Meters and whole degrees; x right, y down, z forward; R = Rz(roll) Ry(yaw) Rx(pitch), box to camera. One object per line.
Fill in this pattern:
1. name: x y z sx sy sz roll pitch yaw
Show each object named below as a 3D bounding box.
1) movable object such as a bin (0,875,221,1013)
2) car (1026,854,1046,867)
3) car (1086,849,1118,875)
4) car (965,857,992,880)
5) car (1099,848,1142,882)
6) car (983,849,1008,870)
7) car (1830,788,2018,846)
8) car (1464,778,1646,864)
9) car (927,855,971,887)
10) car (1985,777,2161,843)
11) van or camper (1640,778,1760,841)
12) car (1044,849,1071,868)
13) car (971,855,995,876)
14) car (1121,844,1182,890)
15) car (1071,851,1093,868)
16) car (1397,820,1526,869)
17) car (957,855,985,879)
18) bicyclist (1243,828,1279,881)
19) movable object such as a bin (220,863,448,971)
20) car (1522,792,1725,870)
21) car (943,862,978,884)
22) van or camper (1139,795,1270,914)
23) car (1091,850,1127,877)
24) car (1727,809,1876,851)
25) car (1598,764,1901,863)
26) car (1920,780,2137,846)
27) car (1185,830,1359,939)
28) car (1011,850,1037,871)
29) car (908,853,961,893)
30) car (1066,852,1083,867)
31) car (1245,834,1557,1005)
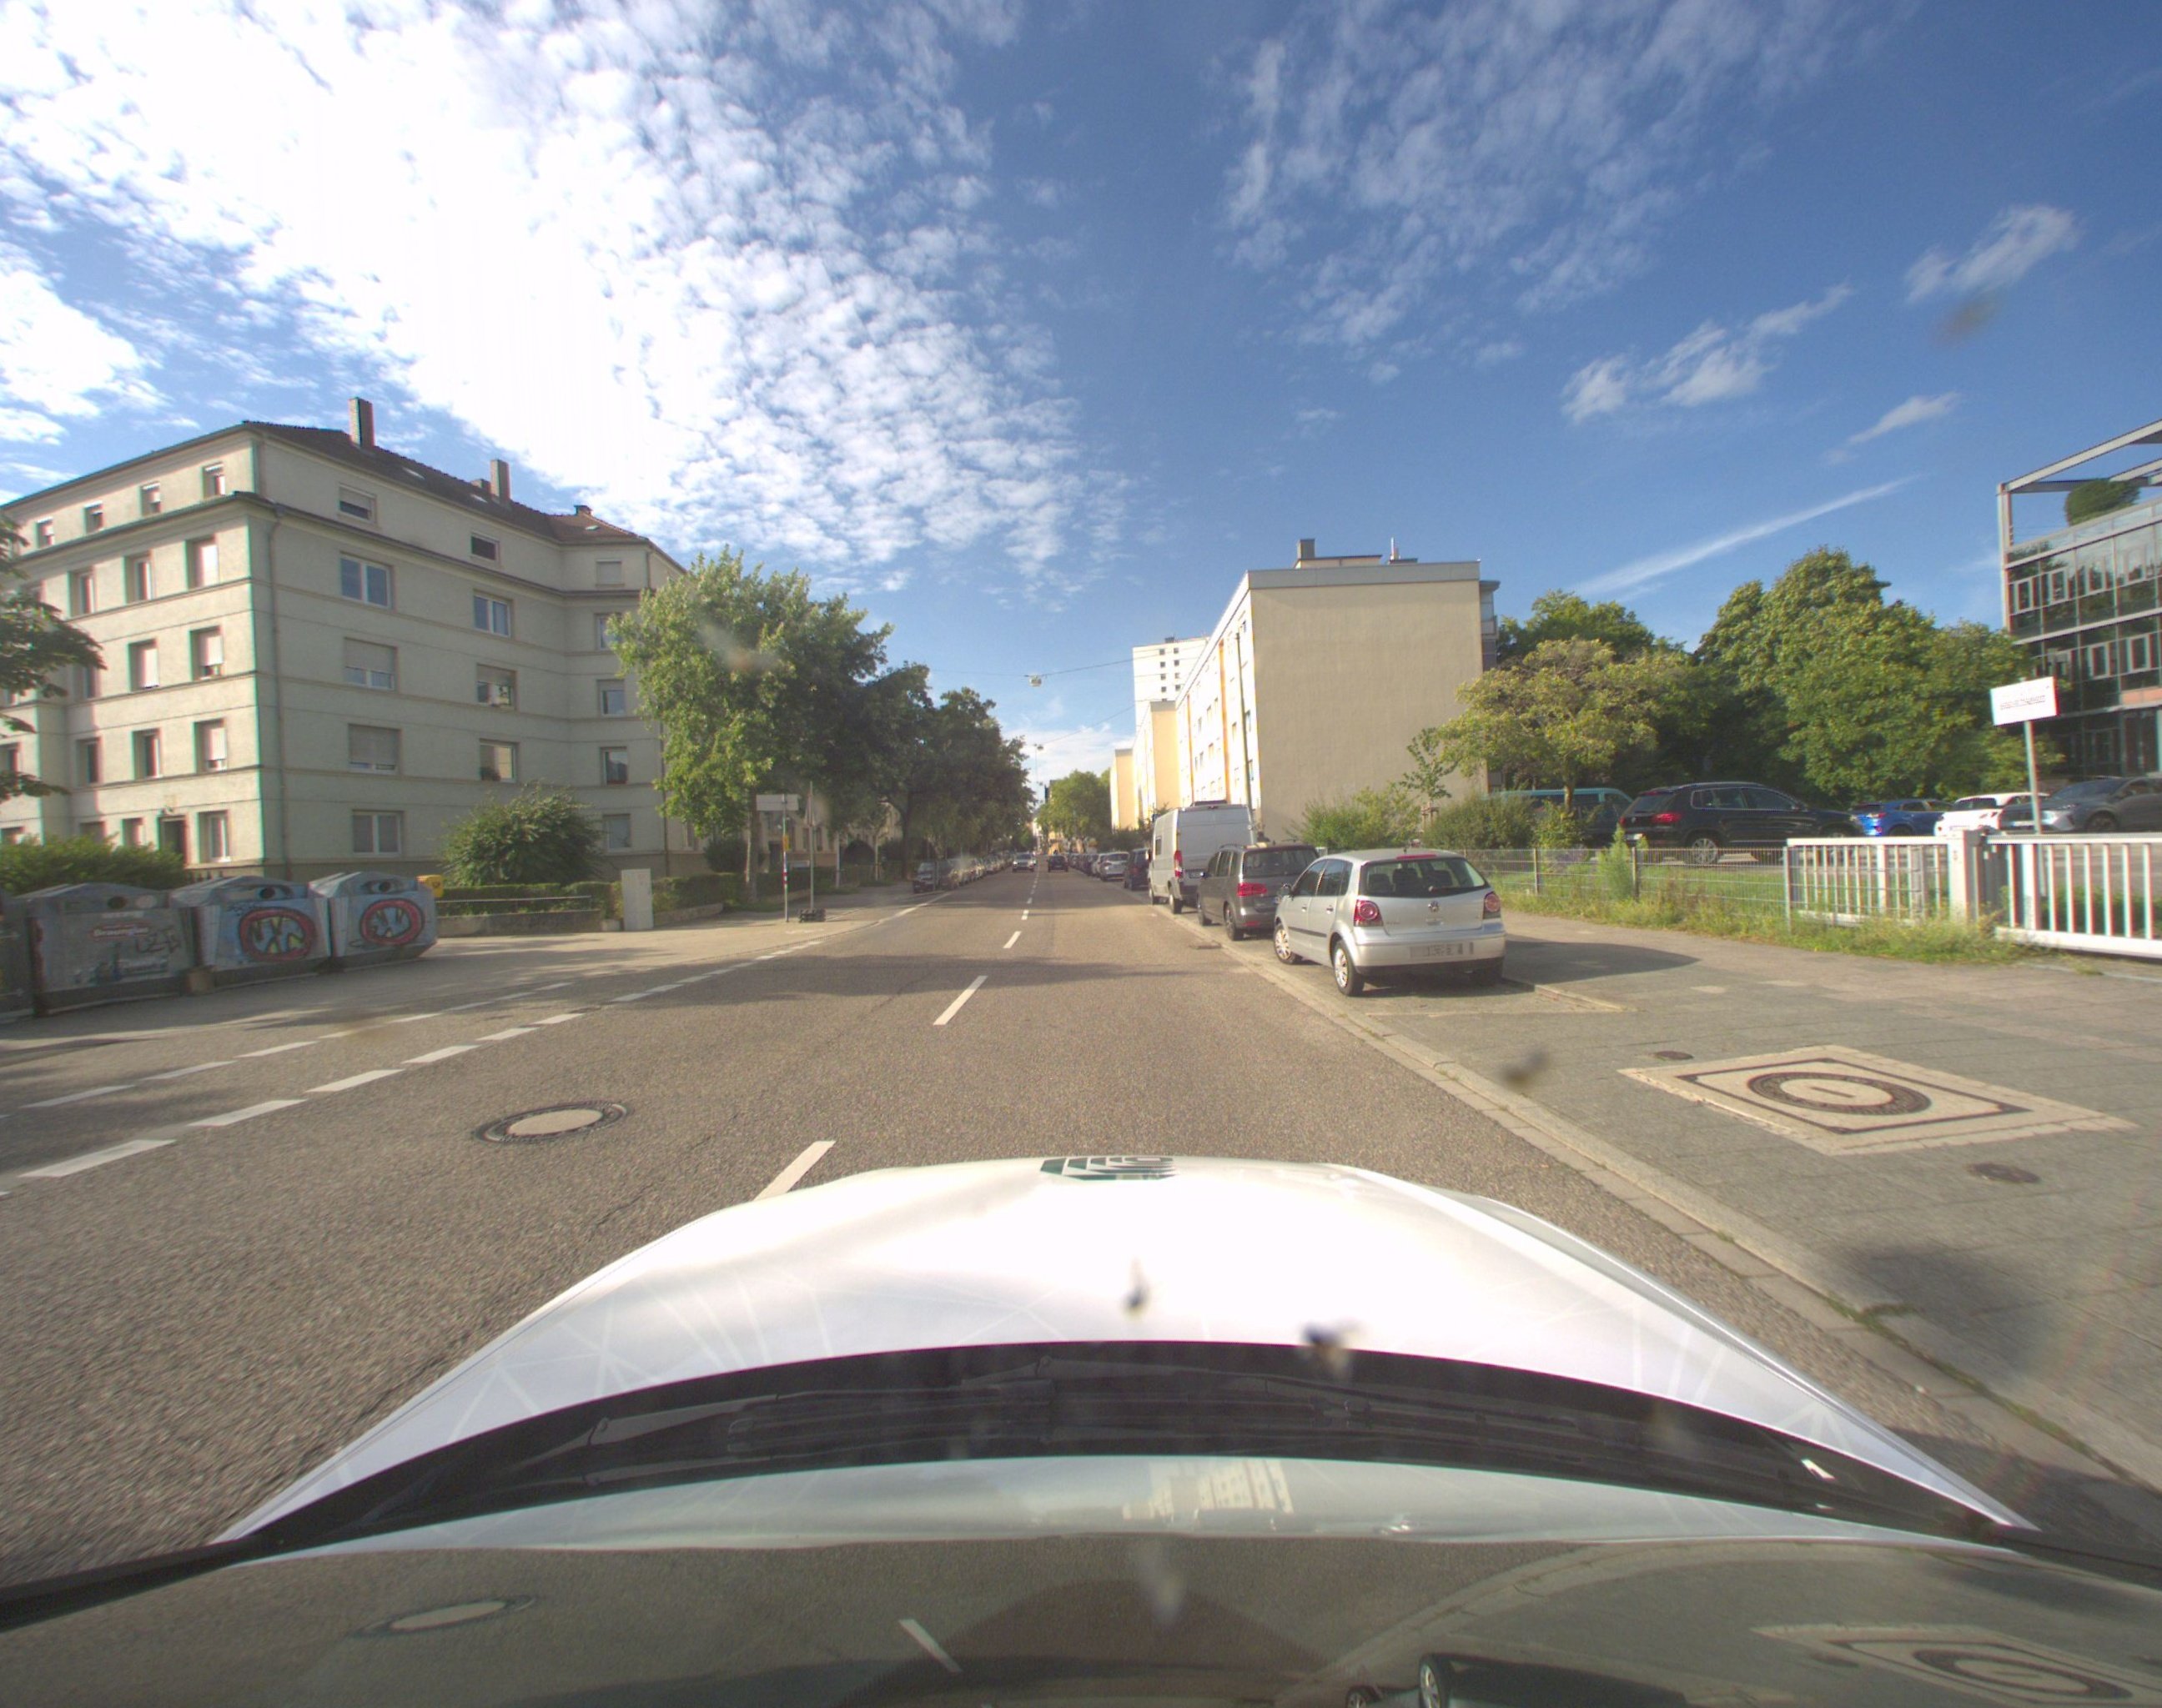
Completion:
1. movable object such as a bin: -14.226 1.207 11.493 3.080 1.708 1.554 -2 0 15
2. car: -5.713 0.836 103.890 1.994 1.570 3.985 -2 0 -11
3. car: 1.378 0.519 55.395 1.987 1.574 3.999 -3 0 0
4. car: -7.708 1.057 61.351 1.804 1.561 3.427 -3 0 -6
5. car: 2.020 0.557 42.804 1.987 1.574 3.999 -3 0 0
6. car: -8.834 0.537 84.285 1.987 2.013 3.999 -3 0 0
7. car: 26.997 -1.167 26.201 3.975 1.552 1.999 -3 0 -1
8. car: 13.871 -0.937 24.056 4.101 2.186 2.002 -3 0 4
9. car: -6.923 0.855 43.050 1.991 1.451 3.897 -3 0 -6
10. car: 26.581 -1.168 21.163 3.975 1.486 1.999 -3 0 -1
11. van or camper: 31.526 -2.168 41.702 2.319 2.874 5.126 -3 0 3
12. car: -2.035 0.370 69.626 1.991 1.570 3.992 -2 0 -6
13. car: -8.117 0.938 67.611 1.804 1.561 3.427 -4 0 -6
14. car: 2.704 0.460 32.145 1.987 1.574 3.999 -3 0 0
15. car: 0.120 0.520 80.374 1.987 1.574 3.999 -3 0 0
16. car: 14.485 -0.373 31.216 3.967 1.585 2.003 -3 0 5
17. car: -7.270 0.843 53.935 1.635 1.390 3.427 -3 0 -6
18. bicyclist: 5.386 0.023 24.412 0.735 1.513 0.874 -5 0 0
19. movable object such as a bin: -13.138 1.085 14.378 3.081 1.707 1.416 -2 1 14
20. car: 14.255 -0.585 21.612 3.969 1.738 2.002 -3 0 4
21. car: -7.133 1.098 48.518 1.804 1.116 3.584 -3 0 -6
22. van or camper: 3.030 0.003 21.318 2.205 2.607 5.365 -3 0 -3
23. car: 1.716 0.562 50.709 1.987 1.530 3.999 -3 0 0
24. car: 27.556 -0.878 31.243 3.976 1.329 1.999 -3 0 -2
25. car: 13.470 -0.779 16.666 4.428 1.621 2.002 -3 0 4
26. car: 27.489 -1.168 23.733 3.975 1.596 1.999 -3 0 -1
27. car: 3.346 0.480 15.248 1.989 1.615 4.404 -3 0 -2
28. car: -4.987 0.564 71.025 2.053 1.663 3.918 -4 0 -6
29. car: -6.720 0.833 37.685 1.991 1.640 3.992 -3 0 -6
30. car: -0.789 0.673 98.711 1.987 1.684 3.999 -3 0 0
31. car: 3.496 0.632 10.071 2.008 1.475 4.804 -4 0 2
